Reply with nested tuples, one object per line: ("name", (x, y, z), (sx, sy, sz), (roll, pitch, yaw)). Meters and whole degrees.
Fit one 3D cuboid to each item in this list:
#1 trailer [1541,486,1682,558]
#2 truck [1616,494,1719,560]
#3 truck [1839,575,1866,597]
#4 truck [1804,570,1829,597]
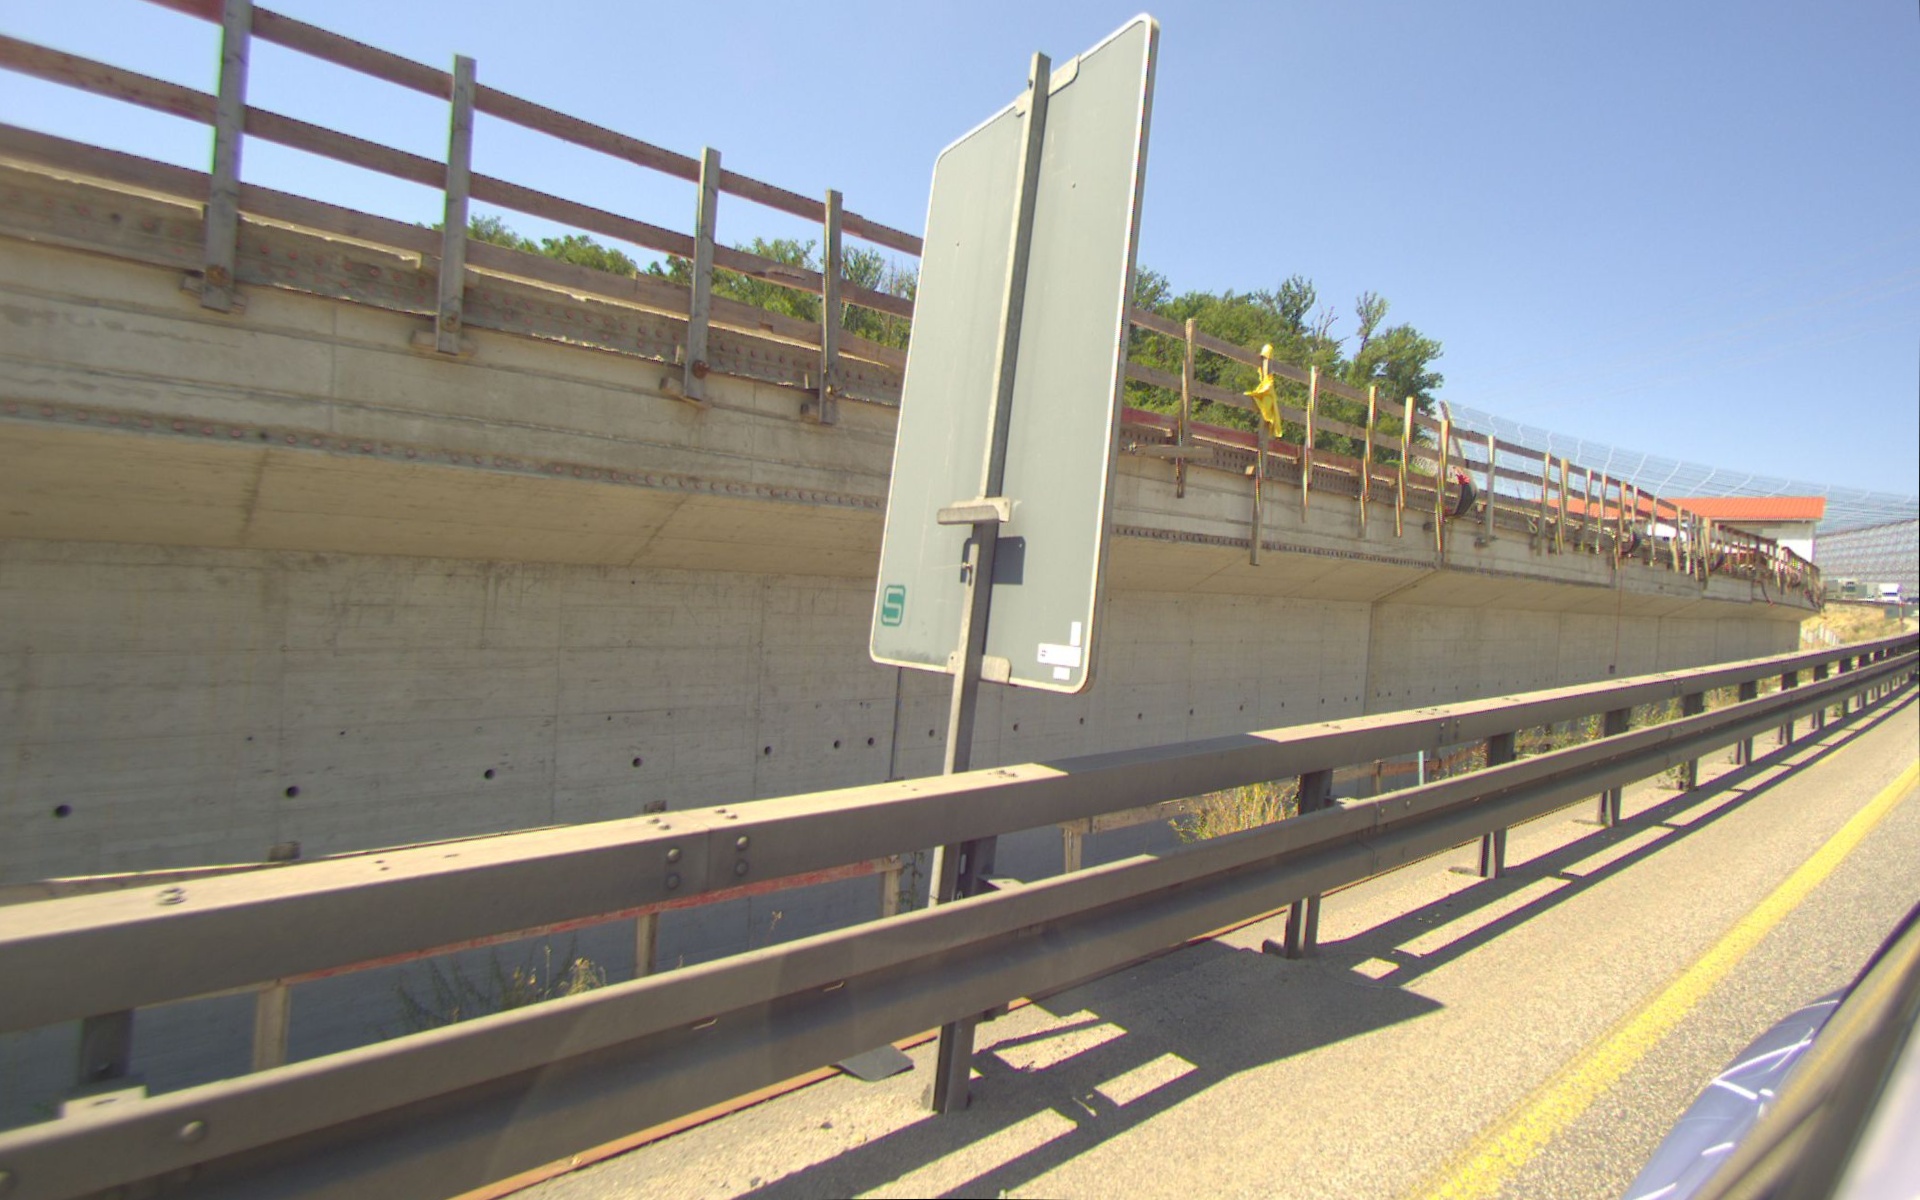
("trailer", (40.705, -4.793, 63.208), (8.806, 3.741, 2.725), (3, 0, -22))
("truck", (45.559, -4.612, 65.197), (5.591, 3.741, 2.725), (3, 0, -22))
("truck", (154.489, -2.460, 175.079), (3.035, 3.793, 8.118), (0, 1, 45))
("truck", (158.677, -3.087, 187.568), (3.026, 4.865, 8.823), (0, 1, 37))
